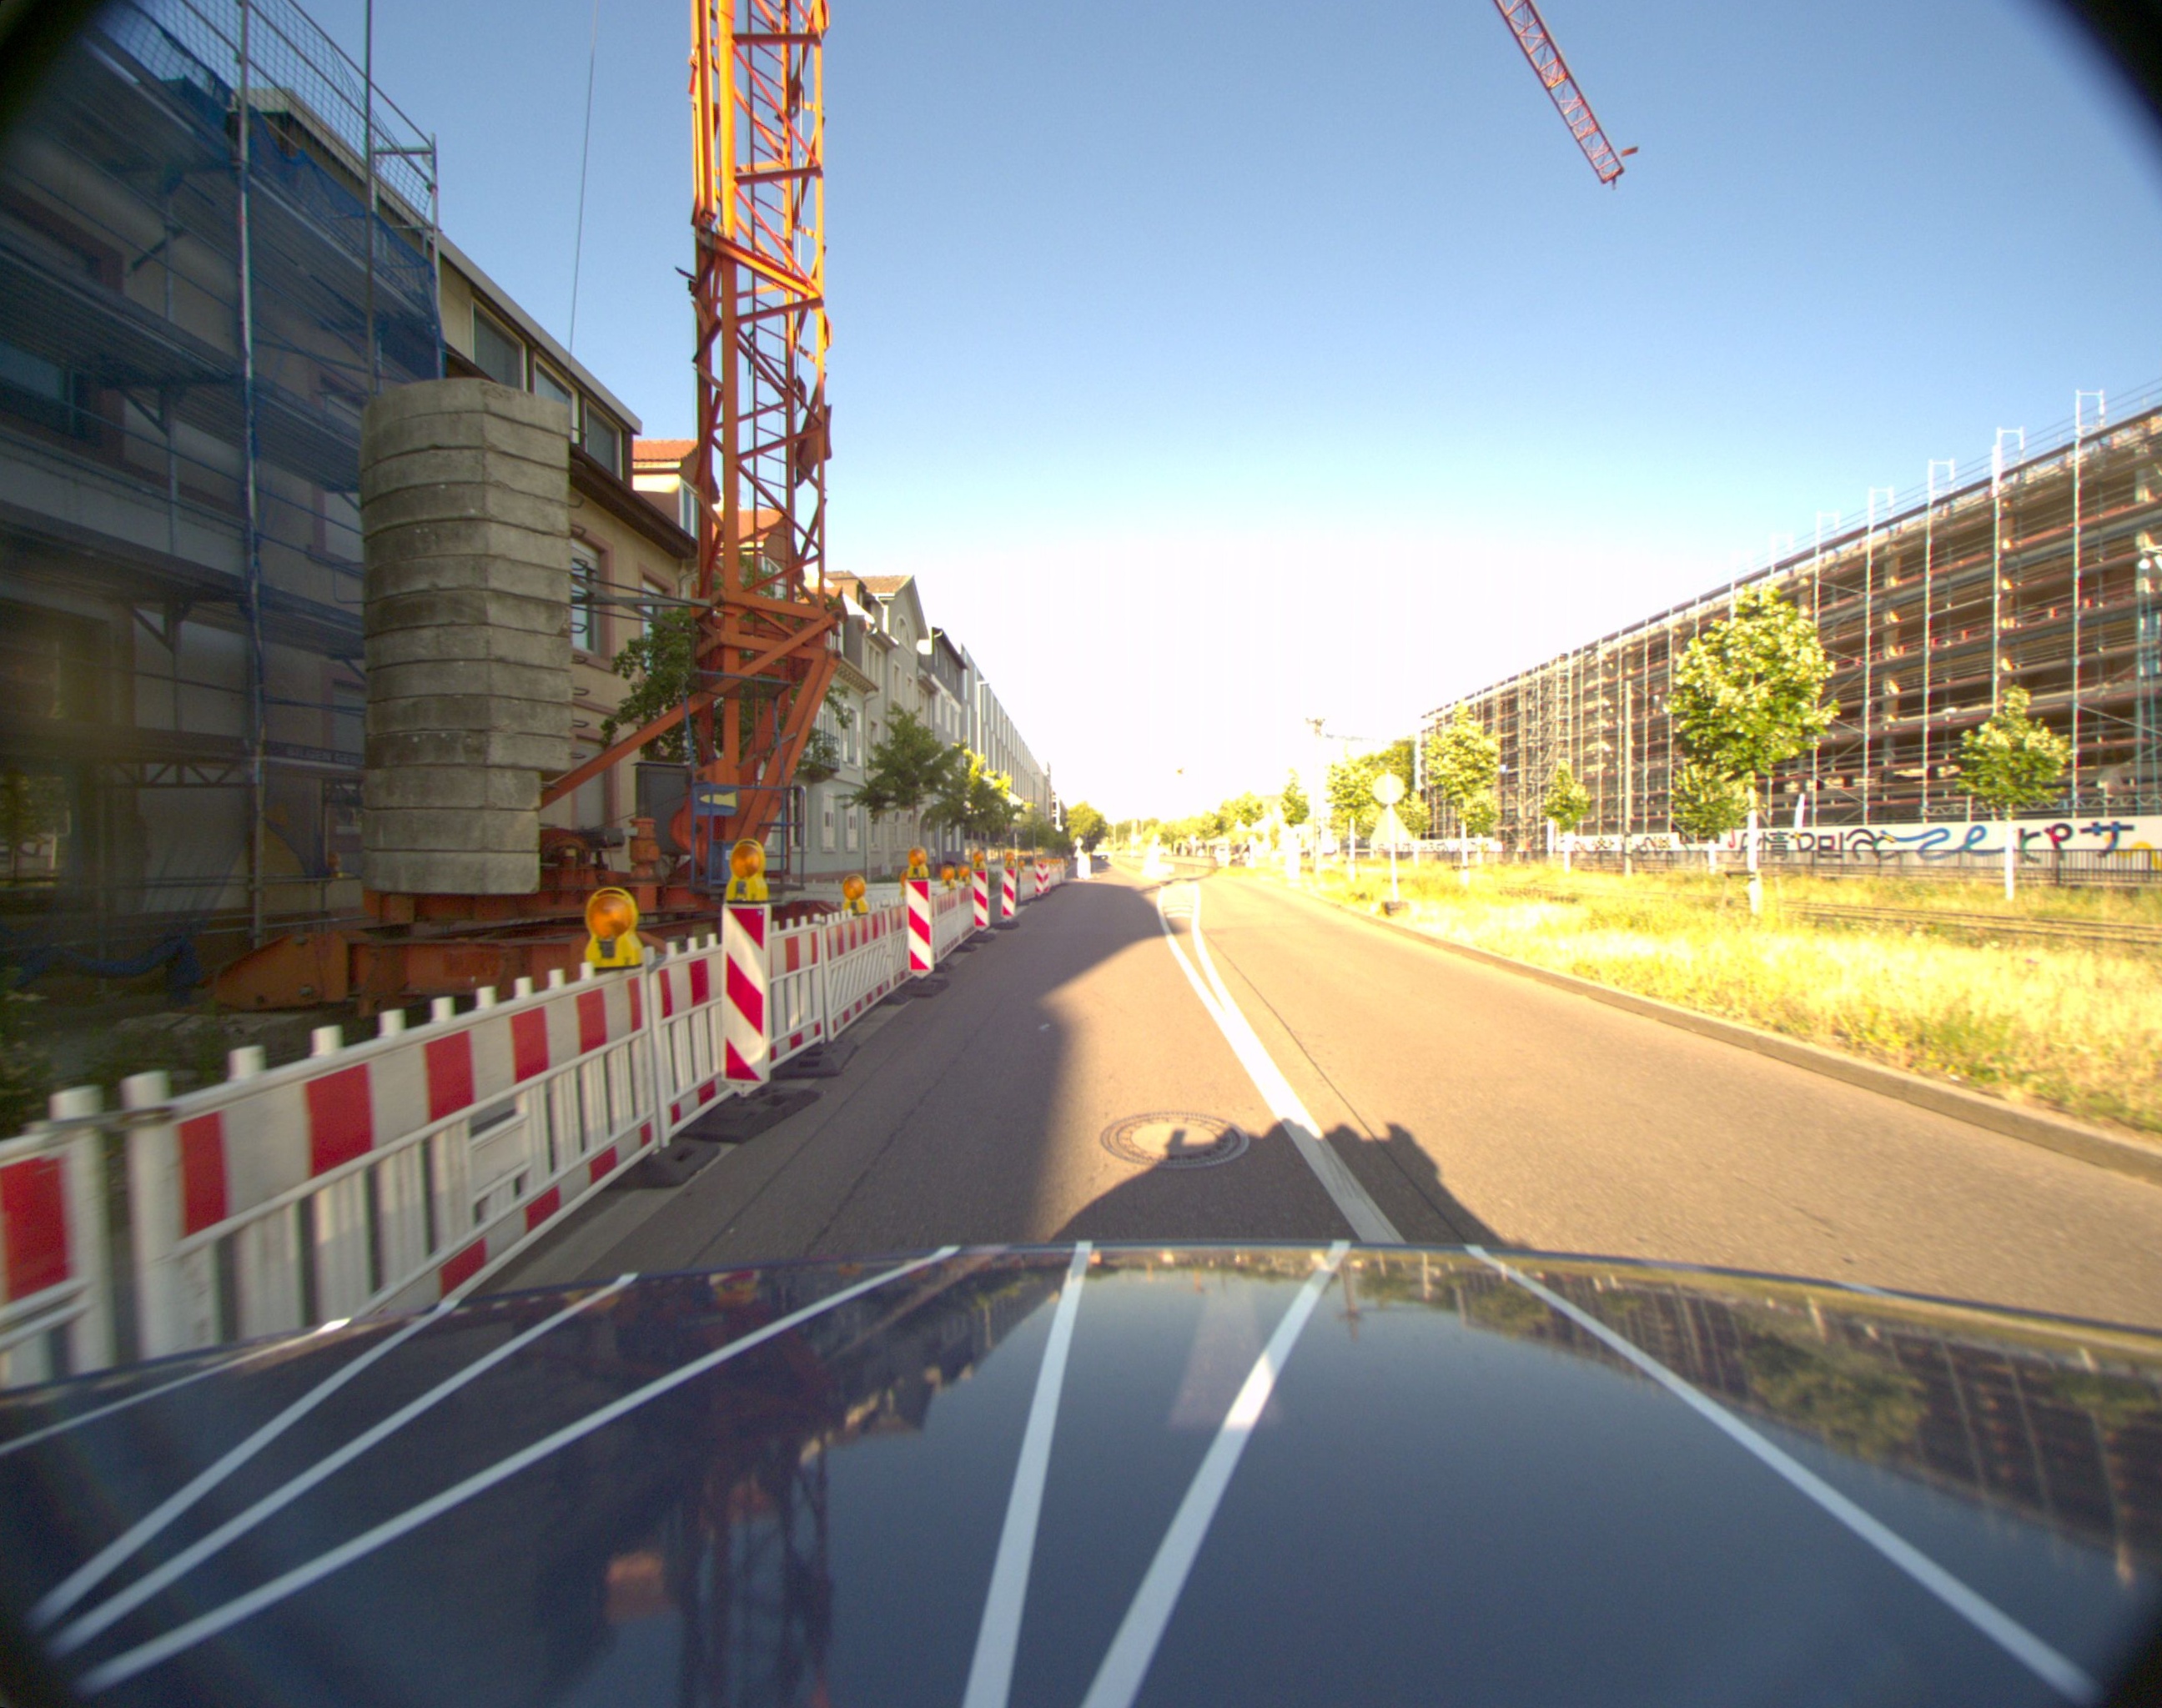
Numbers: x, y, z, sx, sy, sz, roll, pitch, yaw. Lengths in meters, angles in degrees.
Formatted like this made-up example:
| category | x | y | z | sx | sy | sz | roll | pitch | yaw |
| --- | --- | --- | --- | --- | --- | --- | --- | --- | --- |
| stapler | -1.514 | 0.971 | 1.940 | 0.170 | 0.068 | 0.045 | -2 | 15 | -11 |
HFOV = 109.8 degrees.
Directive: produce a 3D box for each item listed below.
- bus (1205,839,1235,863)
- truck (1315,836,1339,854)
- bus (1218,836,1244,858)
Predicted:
| category | x | y | z | sx | sy | sz | roll | pitch | yaw |
| --- | --- | --- | --- | --- | --- | --- | --- | --- | --- |
| bus | 18.913 | -0.397 | 103.756 | 2.724 | 3.204 | 8.655 | 0 | 0 | 1 |
| truck | 35.235 | -1.257 | 108.984 | 2.143 | 2.559 | 4.740 | 0 | 1 | 3 |
| bus | 22.962 | -1.037 | 116.667 | 2.723 | 3.204 | 8.656 | 0 | 0 | 3 |
